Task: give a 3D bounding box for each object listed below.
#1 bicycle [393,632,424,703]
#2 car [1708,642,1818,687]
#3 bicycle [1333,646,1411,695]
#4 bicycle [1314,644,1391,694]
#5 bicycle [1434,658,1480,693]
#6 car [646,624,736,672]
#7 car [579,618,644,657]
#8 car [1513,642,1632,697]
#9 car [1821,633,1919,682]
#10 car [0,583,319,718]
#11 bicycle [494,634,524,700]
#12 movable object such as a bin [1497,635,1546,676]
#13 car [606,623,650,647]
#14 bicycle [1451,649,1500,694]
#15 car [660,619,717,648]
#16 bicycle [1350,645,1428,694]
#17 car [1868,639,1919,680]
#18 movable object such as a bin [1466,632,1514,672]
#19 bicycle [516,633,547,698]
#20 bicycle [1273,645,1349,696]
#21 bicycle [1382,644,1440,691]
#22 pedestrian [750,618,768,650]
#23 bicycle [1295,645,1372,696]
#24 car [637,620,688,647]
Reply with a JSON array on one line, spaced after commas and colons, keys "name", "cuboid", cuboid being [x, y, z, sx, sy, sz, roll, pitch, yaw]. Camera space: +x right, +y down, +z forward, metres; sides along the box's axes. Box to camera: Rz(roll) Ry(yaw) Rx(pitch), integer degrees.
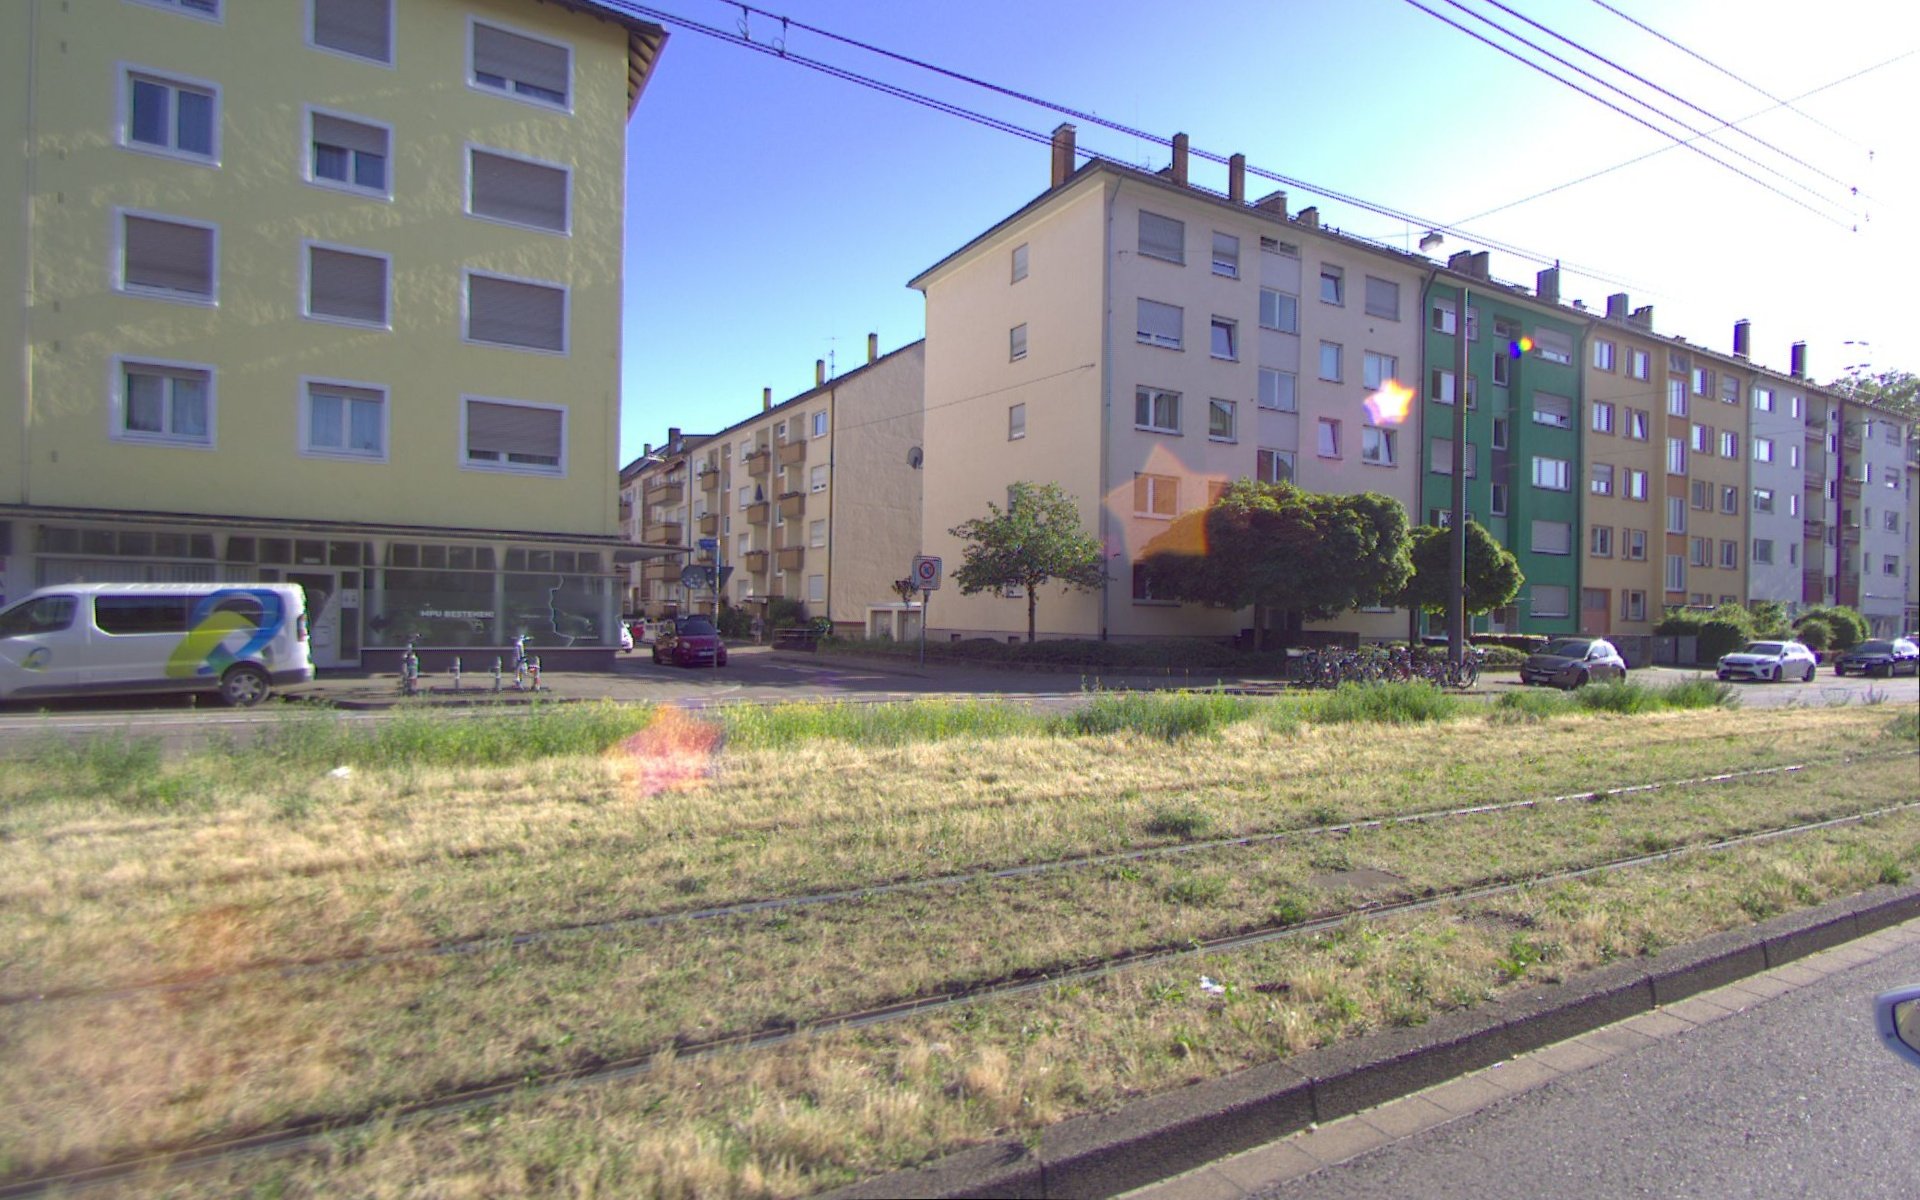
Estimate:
[{"name": "bicycle", "cuboid": [-10.389, 1.232, 18.930, 0.467, 1.120, 2.088, 1, 2, -29]}, {"name": "car", "cuboid": [29.708, 2.357, 37.120, 4.324, 1.474, 1.720, 1, 0, -30]}, {"name": "bicycle", "cuboid": [11.018, 1.862, 26.944, 0.607, 1.107, 2.042, 1, 2, -23]}, {"name": "bicycle", "cuboid": [10.374, 1.807, 26.612, 0.607, 1.107, 2.042, 1, 2, -23]}, {"name": "bicycle", "cuboid": [13.817, 2.084, 27.912, 2.039, 0.877, 0.373, 1, 2, -42]}, {"name": "car", "cuboid": [-8.697, 1.518, 32.273, 1.753, 1.431, 3.966, 1, -2, -32]}, {"name": "car", "cuboid": [-14.699, 1.560, 42.241, 1.753, 1.551, 3.966, 1, -2, -32]}, {"name": "car", "cuboid": [18.764, 2.070, 30.755, 3.693, 1.461, 1.626, 1, 2, -33]}, {"name": "car", "cuboid": [38.656, 2.389, 42.455, 4.555, 1.862, 1.984, 1, 2, -30]}, {"name": "car", "cuboid": [-13.912, 0.769, 16.722, 5.442, 1.975, 1.981, 1, 2, -33]}, {"name": "bicycle", "cuboid": [-8.938, 1.291, 19.889, 0.386, 1.120, 1.811, 1, 2, -29]}, {"name": "movable object such as a bin", "cuboid": [20.548, 2.012, 36.750, 1.026, 1.386, 1.142, 2, 2, -27]}, {"name": "car", "cuboid": [-20.813, 2.172, 62.907, 1.753, 1.431, 3.966, 1, -2, -32]}, {"name": "bicycle", "cuboid": [14.169, 1.948, 27.582, 1.921, 1.107, 0.504, 1, 2, -42]}, {"name": "car", "cuboid": [-13.749, 1.686, 50.717, 1.753, 1.431, 3.966, 1, -2, -32]}, {"name": "bicycle", "cuboid": [11.606, 1.867, 27.232, 0.607, 1.107, 2.042, 1, 2, -23]}, {"name": "car", "cuboid": [43.193, 2.649, 45.390, 4.102, 1.629, 1.984, 1, 2, -30]}, {"name": "movable object such as a bin", "cuboid": [20.003, 1.961, 37.922, 1.026, 1.386, 1.142, 2, 2, -27]}, {"name": "bicycle", "cuboid": [-8.584, 1.291, 20.095, 0.386, 1.120, 1.811, 1, 2, -29]}, {"name": "bicycle", "cuboid": [9.057, 1.793, 25.991, 0.607, 1.107, 2.042, 1, 2, -23]}, {"name": "bicycle", "cuboid": [12.626, 1.878, 28.183, 0.604, 1.107, 2.053, 2, 2, -3]}, {"name": "pedestrian", "cuboid": [-9.847, 1.664, 49.217, 0.659, 1.514, 0.584, 1, 2, -32]}, {"name": "bicycle", "cuboid": [9.736, 1.825, 26.295, 0.607, 1.107, 2.042, 1, 2, -23]}, {"name": "car", "cuboid": [-16.521, 1.864, 55.609, 1.753, 1.431, 3.966, 1, -2, -32]}]
